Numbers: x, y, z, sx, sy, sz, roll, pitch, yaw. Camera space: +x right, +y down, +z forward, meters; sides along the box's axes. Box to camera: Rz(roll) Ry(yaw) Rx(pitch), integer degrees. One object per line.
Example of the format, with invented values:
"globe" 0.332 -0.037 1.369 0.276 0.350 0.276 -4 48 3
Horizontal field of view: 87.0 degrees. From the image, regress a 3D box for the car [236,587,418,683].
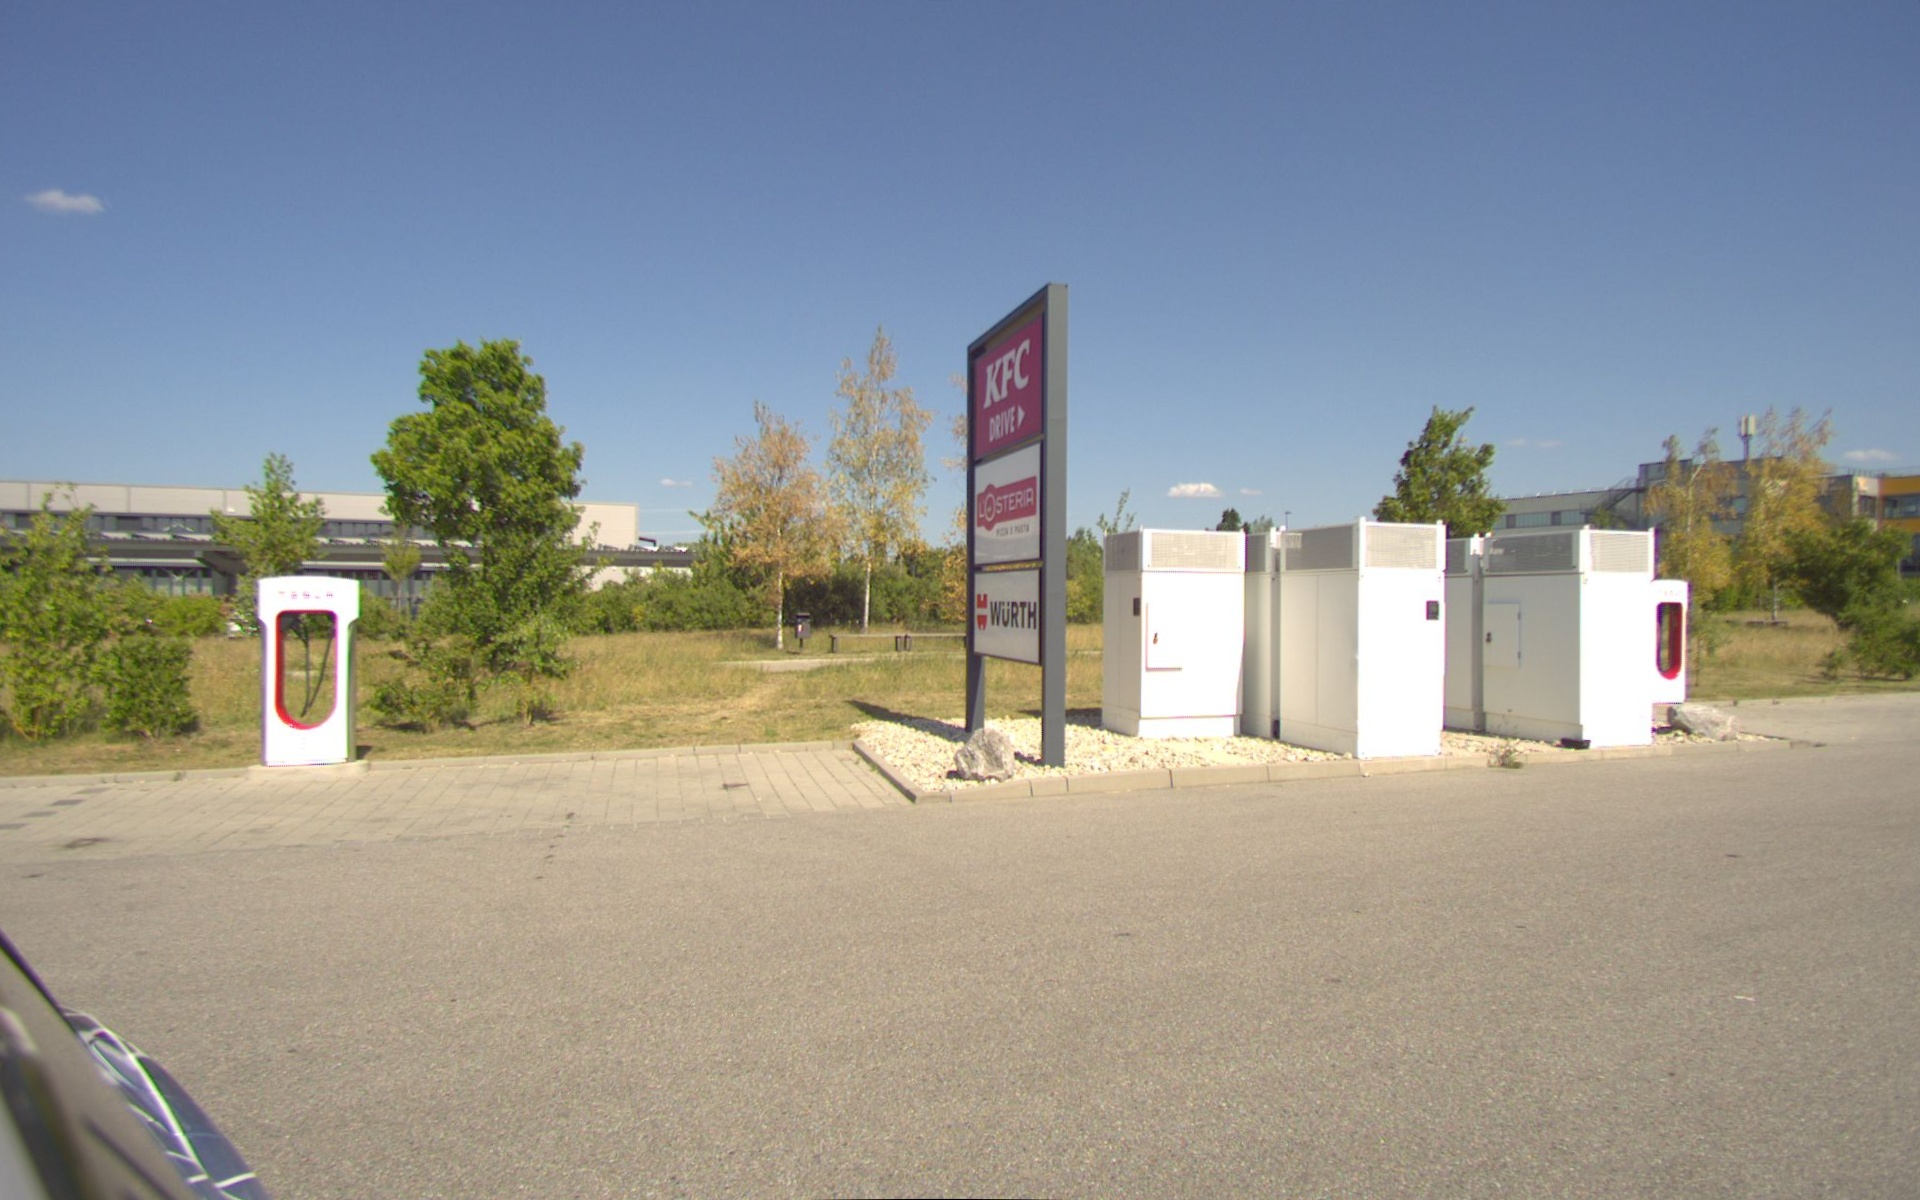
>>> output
"car" -13.066 0.660 21.215 1.887 1.763 4.267 -1 0 -12
